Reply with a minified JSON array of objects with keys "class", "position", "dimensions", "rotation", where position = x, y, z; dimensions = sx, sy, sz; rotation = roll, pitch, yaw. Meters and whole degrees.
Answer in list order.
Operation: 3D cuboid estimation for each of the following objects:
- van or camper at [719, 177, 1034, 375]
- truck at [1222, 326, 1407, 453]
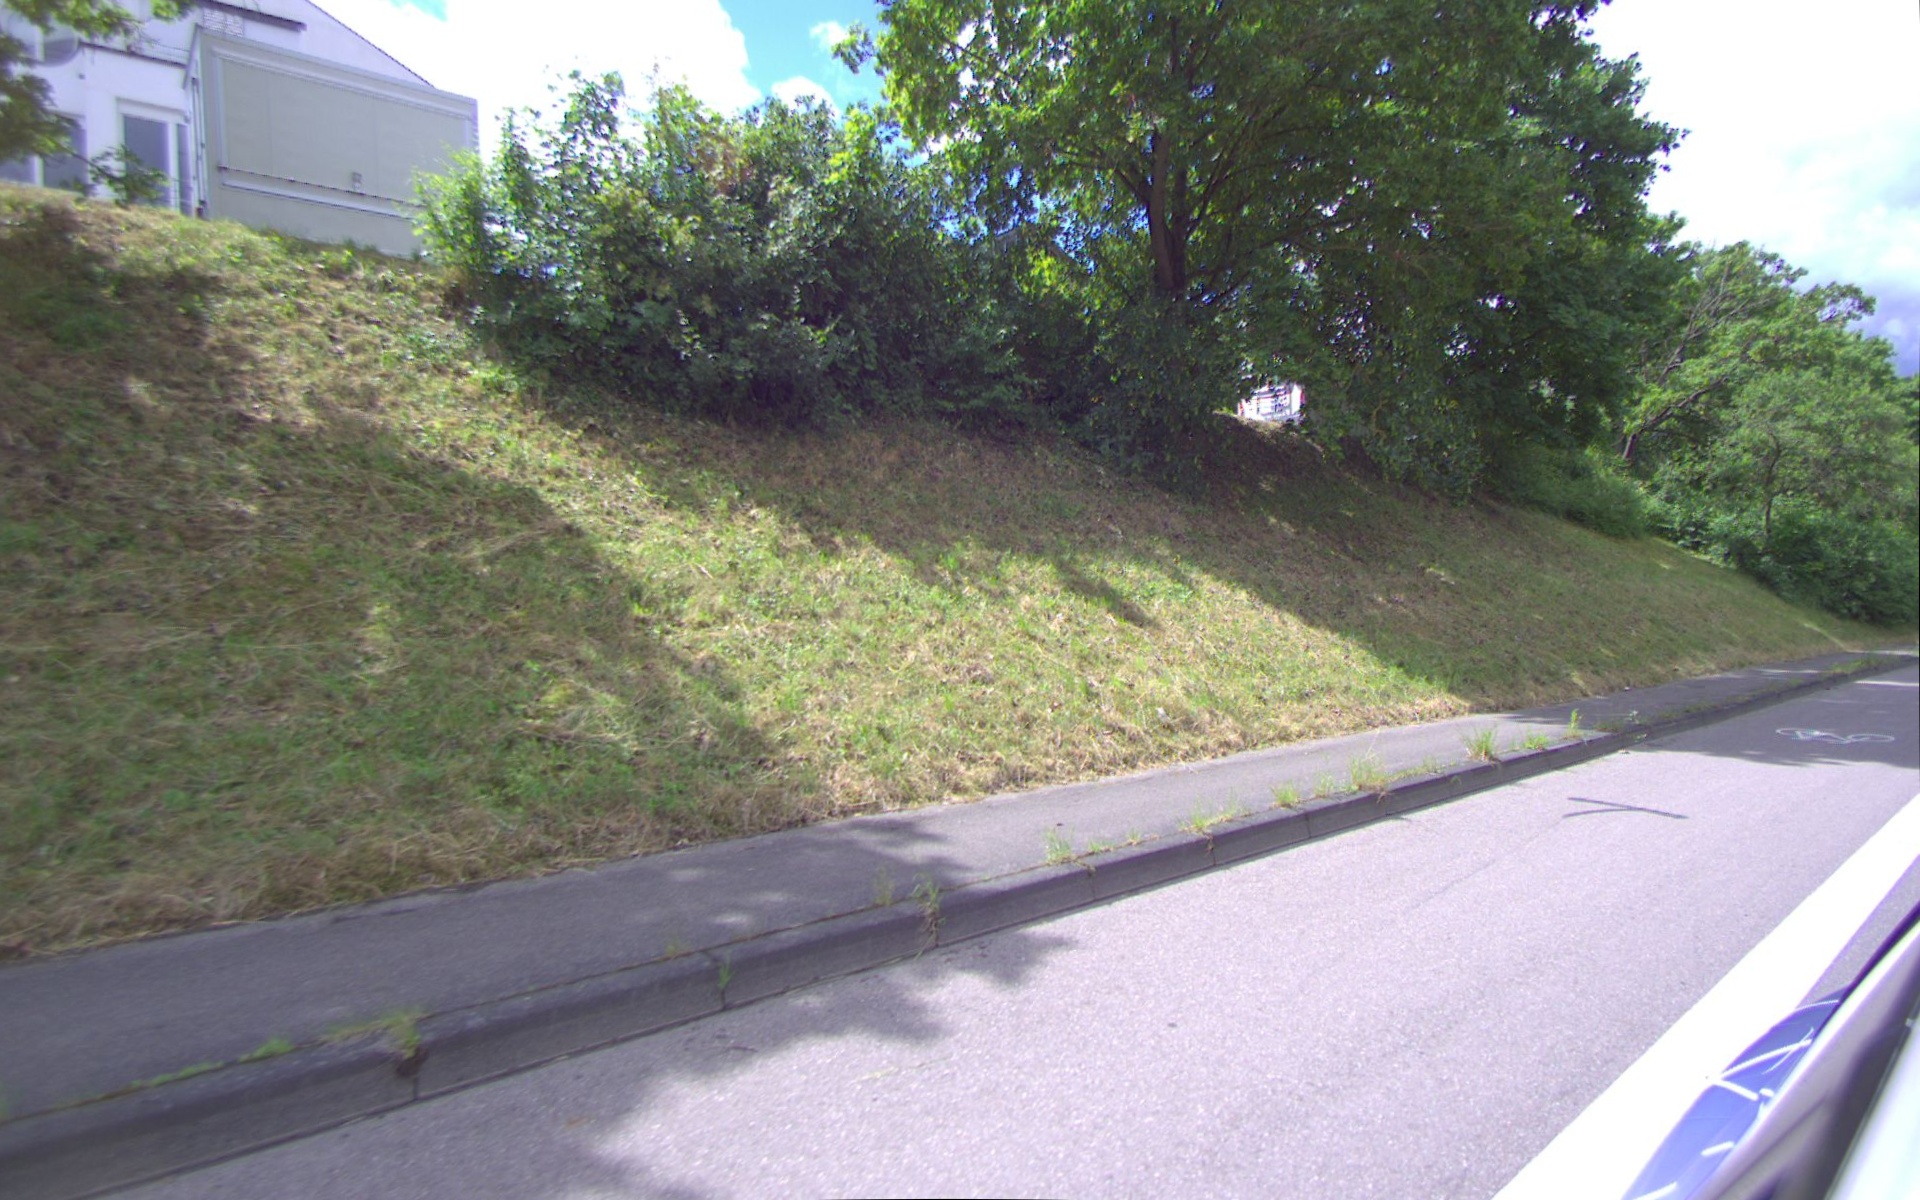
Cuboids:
[{"class":"van or camper","position":[-1.432,-6.032,19.725],"dimensions":[6.057,2.095,2.219],"rotation":[0,1,-43]},{"class":"truck","position":[11.099,-6.305,31.291],"dimensions":[6.918,2.692,2.354],"rotation":[0,1,-42]}]
